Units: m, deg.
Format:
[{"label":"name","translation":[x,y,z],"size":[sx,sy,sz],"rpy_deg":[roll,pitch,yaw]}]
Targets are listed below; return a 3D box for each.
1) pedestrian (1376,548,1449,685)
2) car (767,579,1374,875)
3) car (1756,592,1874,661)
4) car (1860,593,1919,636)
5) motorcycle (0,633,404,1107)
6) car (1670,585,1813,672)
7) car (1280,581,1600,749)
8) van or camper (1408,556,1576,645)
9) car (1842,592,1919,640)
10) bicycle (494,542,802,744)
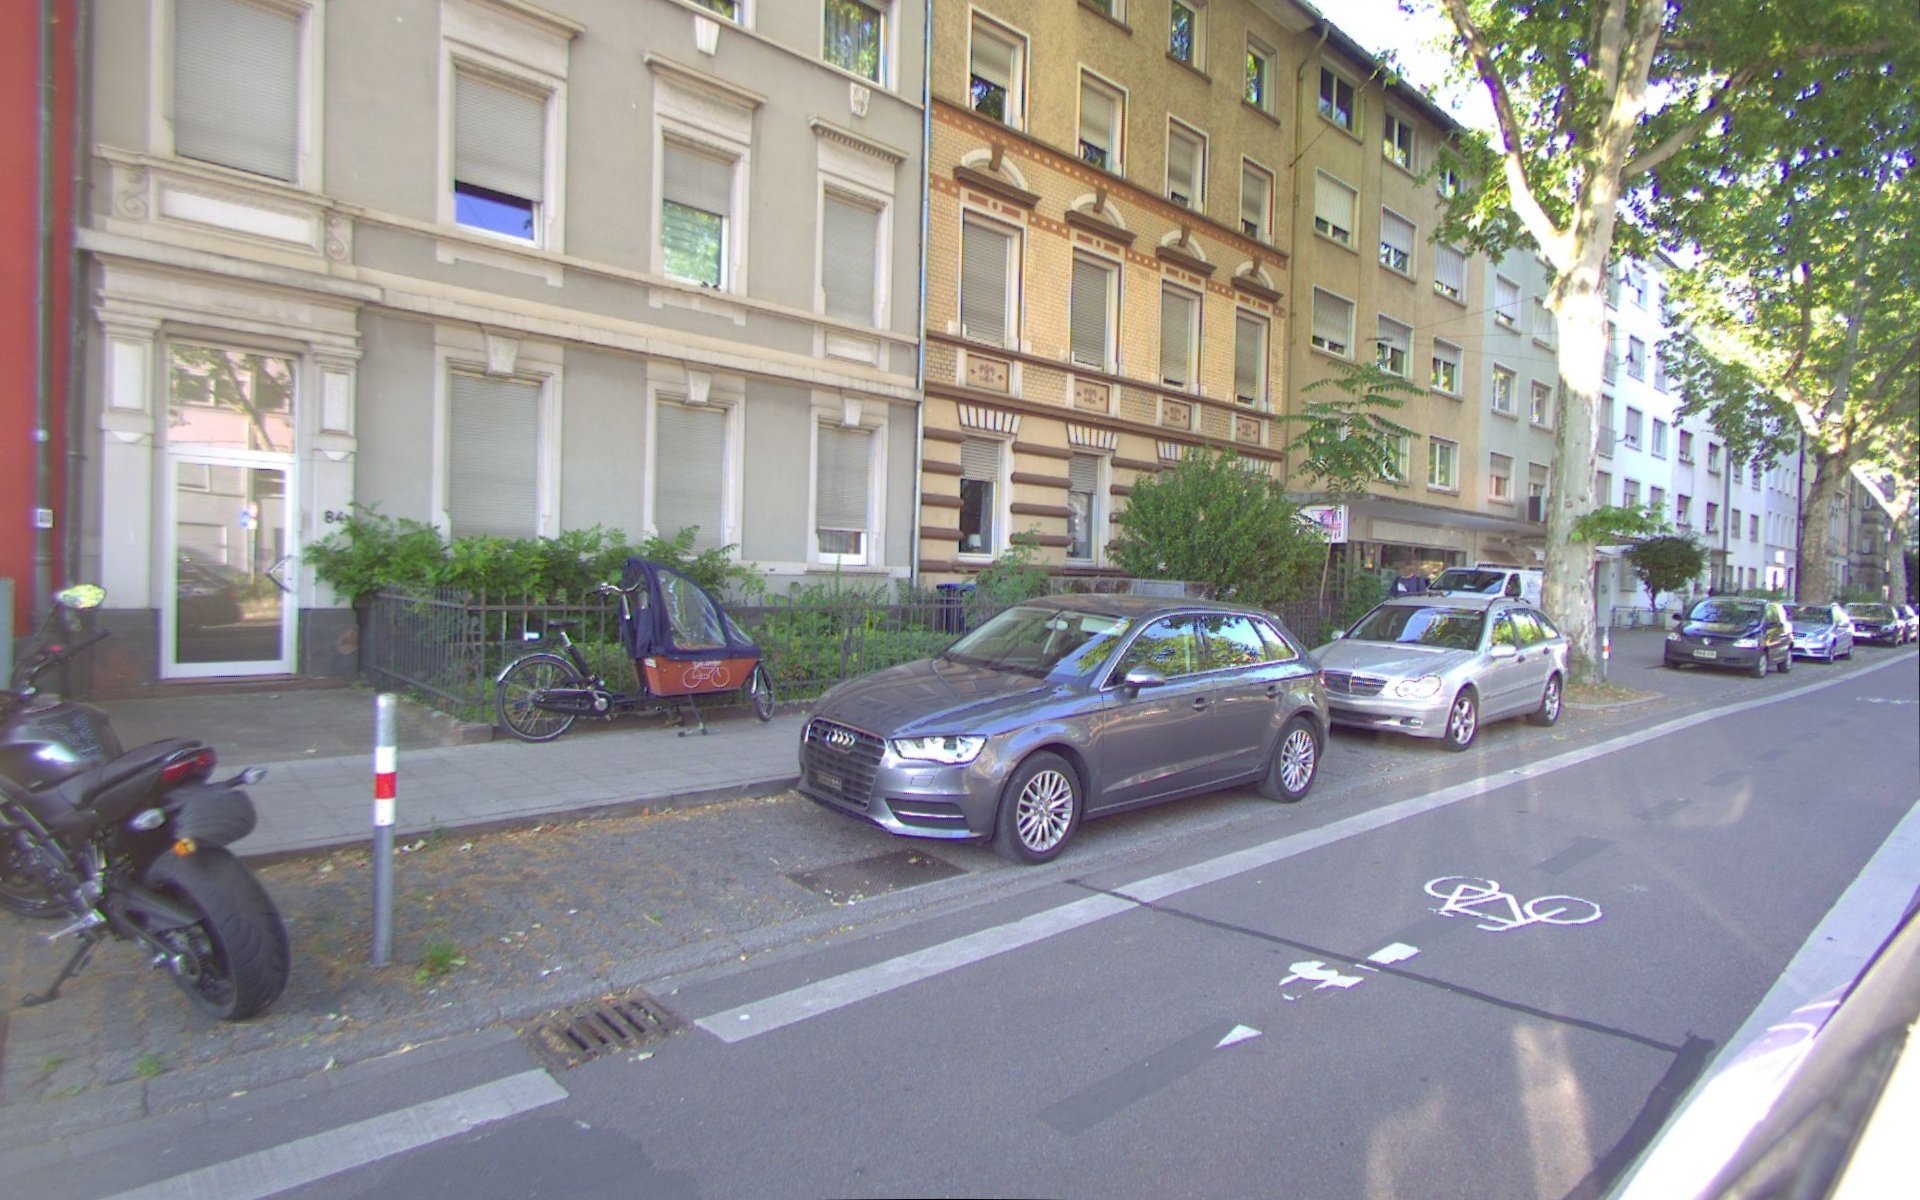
[{"label":"pedestrian","translation":[7.036,0.230,15.718],"size":[0.995,2.038,0.683],"rpy_deg":[0,1,-45]},{"label":"car","translation":[0.975,0.607,6.981],"size":[4.245,1.414,1.714],"rpy_deg":[0,2,-41]},{"label":"car","translation":[21.998,0.624,25.960],"size":[4.695,1.561,1.697],"rpy_deg":[0,2,-42]},{"label":"car","translation":[35.192,0.513,37.881],"size":[4.289,1.432,1.712],"rpy_deg":[0,4,-42]},{"label":"motorcycle","translation":[-3.022,0.759,3.573],"size":[2.193,1.076,0.760],"rpy_deg":[4,2,28]},{"label":"car","translation":[16.245,0.523,20.966],"size":[3.932,1.564,1.656],"rpy_deg":[0,2,-42]},{"label":"car","translation":[5.462,0.564,11.209],"size":[4.494,1.469,1.676],"rpy_deg":[0,2,-43]},{"label":"van or camper","translation":[13.178,-0.024,24.918],"size":[5.299,1.946,1.945],"rpy_deg":[0,2,-42]},{"label":"car","translation":[31.666,0.502,34.612],"size":[4.289,1.432,1.712],"rpy_deg":[0,4,-42]},{"label":"bicycle","translation":[-2.460,0.299,8.234],"size":[2.354,1.445,0.608],"rpy_deg":[0,0,-41]}]
